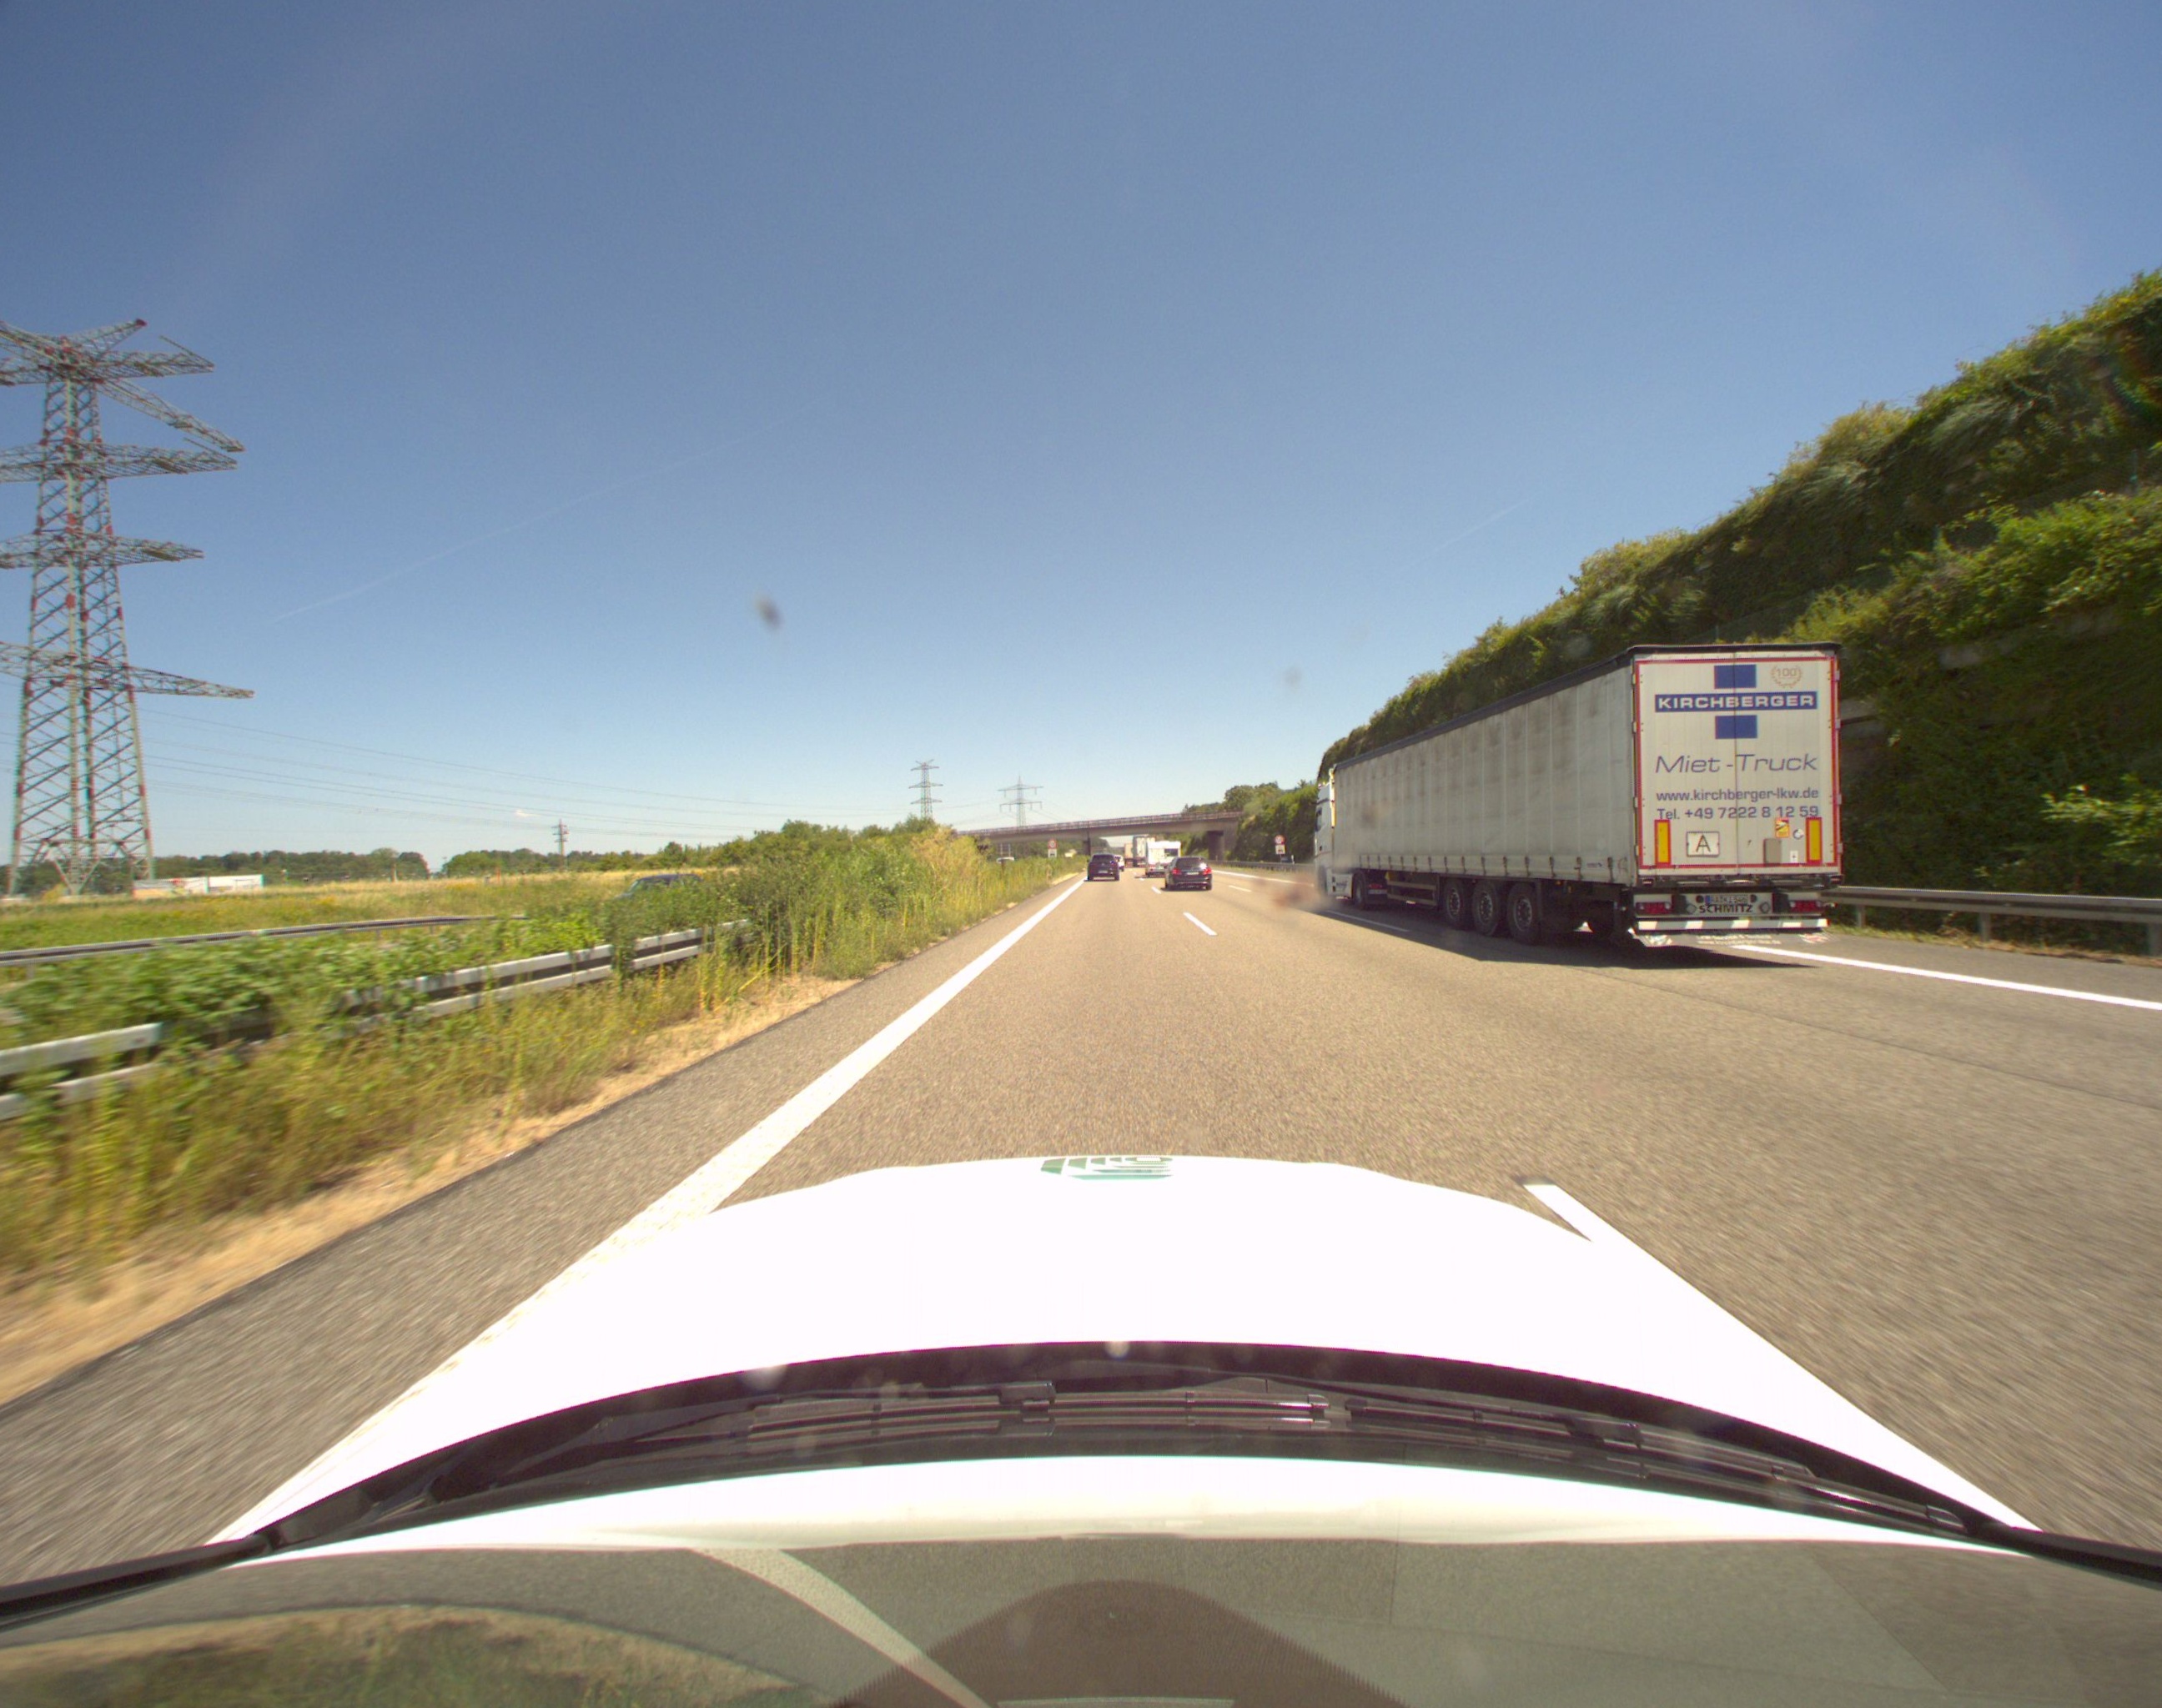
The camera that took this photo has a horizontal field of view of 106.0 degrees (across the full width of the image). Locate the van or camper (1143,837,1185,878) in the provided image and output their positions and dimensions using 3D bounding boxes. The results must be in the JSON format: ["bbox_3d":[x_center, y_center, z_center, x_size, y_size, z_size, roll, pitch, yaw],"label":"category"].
[{"bbox_3d":[5.868,0.256,58.415,2.430,2.675,6.352,-2,0,2],"label":"van or camper"}]

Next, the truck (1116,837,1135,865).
[{"bbox_3d":[8.821,-0.547,161.492,3.497,5.166,10.266,-1,0,3],"label":"truck"}]

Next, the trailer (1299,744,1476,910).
[{"bbox_3d":[8.607,-0.670,23.824,2.703,4.102,6.792,-2,0,2],"label":"trailer"}]

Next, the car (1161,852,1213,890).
[{"bbox_3d":[4.667,0.713,36.402,1.834,1.505,4.740,-2,0,2],"label":"car"}]

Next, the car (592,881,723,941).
[{"bbox_3d":[-14.075,1.842,27.397,1.855,1.654,4.560,-1,0,2],"label":"car"}]

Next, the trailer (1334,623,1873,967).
[{"bbox_3d":[8.368,-0.692,16.472,2.718,4.102,13.194,-2,0,2],"label":"trailer"}]

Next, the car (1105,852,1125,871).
[{"bbox_3d":[3.410,0.732,82.081,1.954,1.814,4.451,-2,0,2],"label":"car"}]

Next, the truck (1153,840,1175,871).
[{"bbox_3d":[13.478,0.310,133.123,3.074,4.885,8.804,0,-1,3],"label":"truck"}]

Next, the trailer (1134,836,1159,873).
[{"bbox_3d":[8.850,0.127,111.442,3.074,4.885,12.266,0,-1,3],"label":"trailer"}]

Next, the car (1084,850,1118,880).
[{"bbox_3d":[1.285,0.674,51.326,1.986,1.772,4.002,-2,0,2],"label":"car"}]
